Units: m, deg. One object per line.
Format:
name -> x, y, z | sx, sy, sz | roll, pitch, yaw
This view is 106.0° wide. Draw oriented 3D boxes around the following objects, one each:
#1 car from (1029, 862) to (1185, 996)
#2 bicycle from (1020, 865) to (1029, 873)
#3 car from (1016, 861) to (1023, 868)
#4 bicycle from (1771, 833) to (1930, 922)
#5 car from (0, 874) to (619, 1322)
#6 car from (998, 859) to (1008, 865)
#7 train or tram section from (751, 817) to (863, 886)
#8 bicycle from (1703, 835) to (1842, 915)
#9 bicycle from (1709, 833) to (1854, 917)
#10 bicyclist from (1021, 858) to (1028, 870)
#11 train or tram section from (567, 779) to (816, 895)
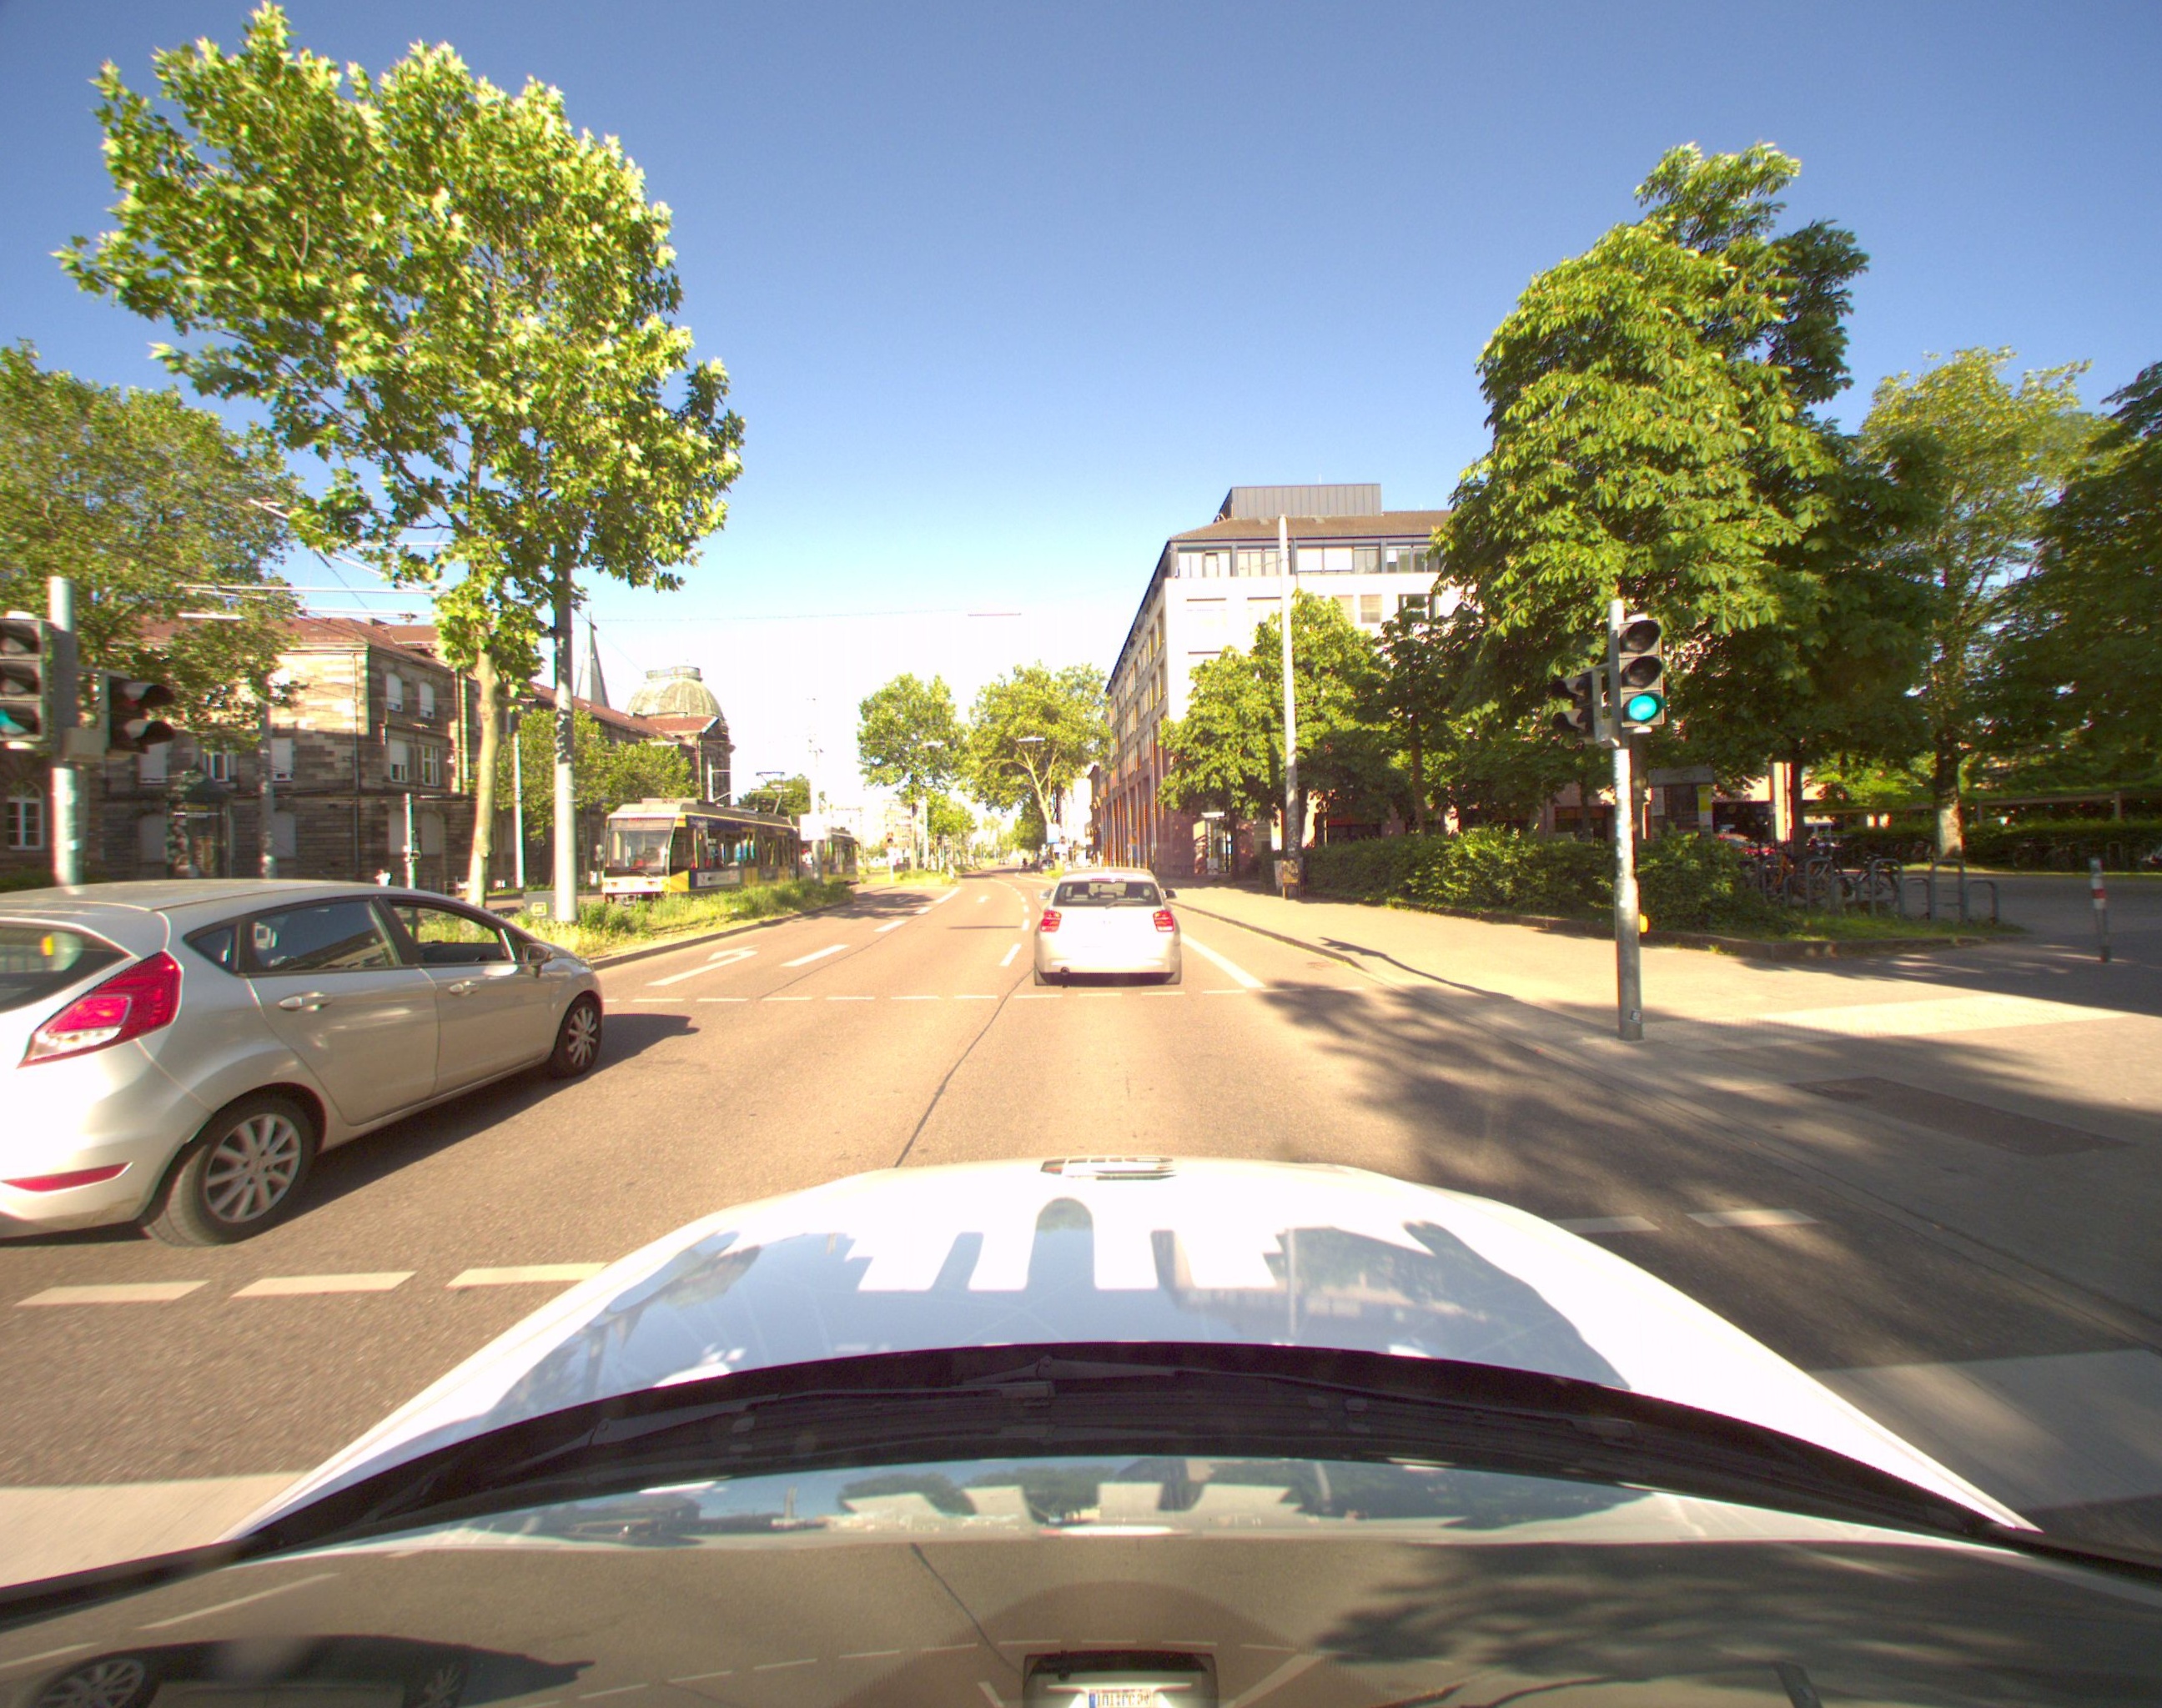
car -> 0.416, 0.850, 10.969 | 1.722, 1.390, 3.844 | 0, 1, 4
bicycle -> -7.387, 1.969, 106.881 | 0.827, 1.041, 1.877 | -2, 0, 6
car -> -19.045, 3.266, 252.551 | 1.986, 2.014, 4.000 | 1, -1, 1
bicycle -> 12.379, 0.373, 13.132 | 1.990, 1.314, 0.574 | -3, 0, -1
car -> -4.266, 0.834, 4.405 | 1.657, 1.409, 3.626 | 0, -1, -4
car -> -20.142, 2.034, 211.685 | 1.985, 1.486, 4.003 | -1, 0, 3
train or tram section -> -14.830, 0.014, 45.518 | 2.910, 3.260, 13.086 | 1, -1, -5
bicycle -> 12.469, 0.375, 14.714 | 1.990, 1.314, 0.574 | -3, 0, -1
bicycle -> 12.092, 0.355, 14.091 | 1.990, 1.314, 0.574 | -3, 0, -1
bicyclist -> -7.405, 1.302, 106.844 | 0.655, 1.657, 0.766 | -2, 0, 5
train or tram section -> -13.623, -0.296, 31.093 | 2.909, 3.260, 15.866 | 1, -1, -4
